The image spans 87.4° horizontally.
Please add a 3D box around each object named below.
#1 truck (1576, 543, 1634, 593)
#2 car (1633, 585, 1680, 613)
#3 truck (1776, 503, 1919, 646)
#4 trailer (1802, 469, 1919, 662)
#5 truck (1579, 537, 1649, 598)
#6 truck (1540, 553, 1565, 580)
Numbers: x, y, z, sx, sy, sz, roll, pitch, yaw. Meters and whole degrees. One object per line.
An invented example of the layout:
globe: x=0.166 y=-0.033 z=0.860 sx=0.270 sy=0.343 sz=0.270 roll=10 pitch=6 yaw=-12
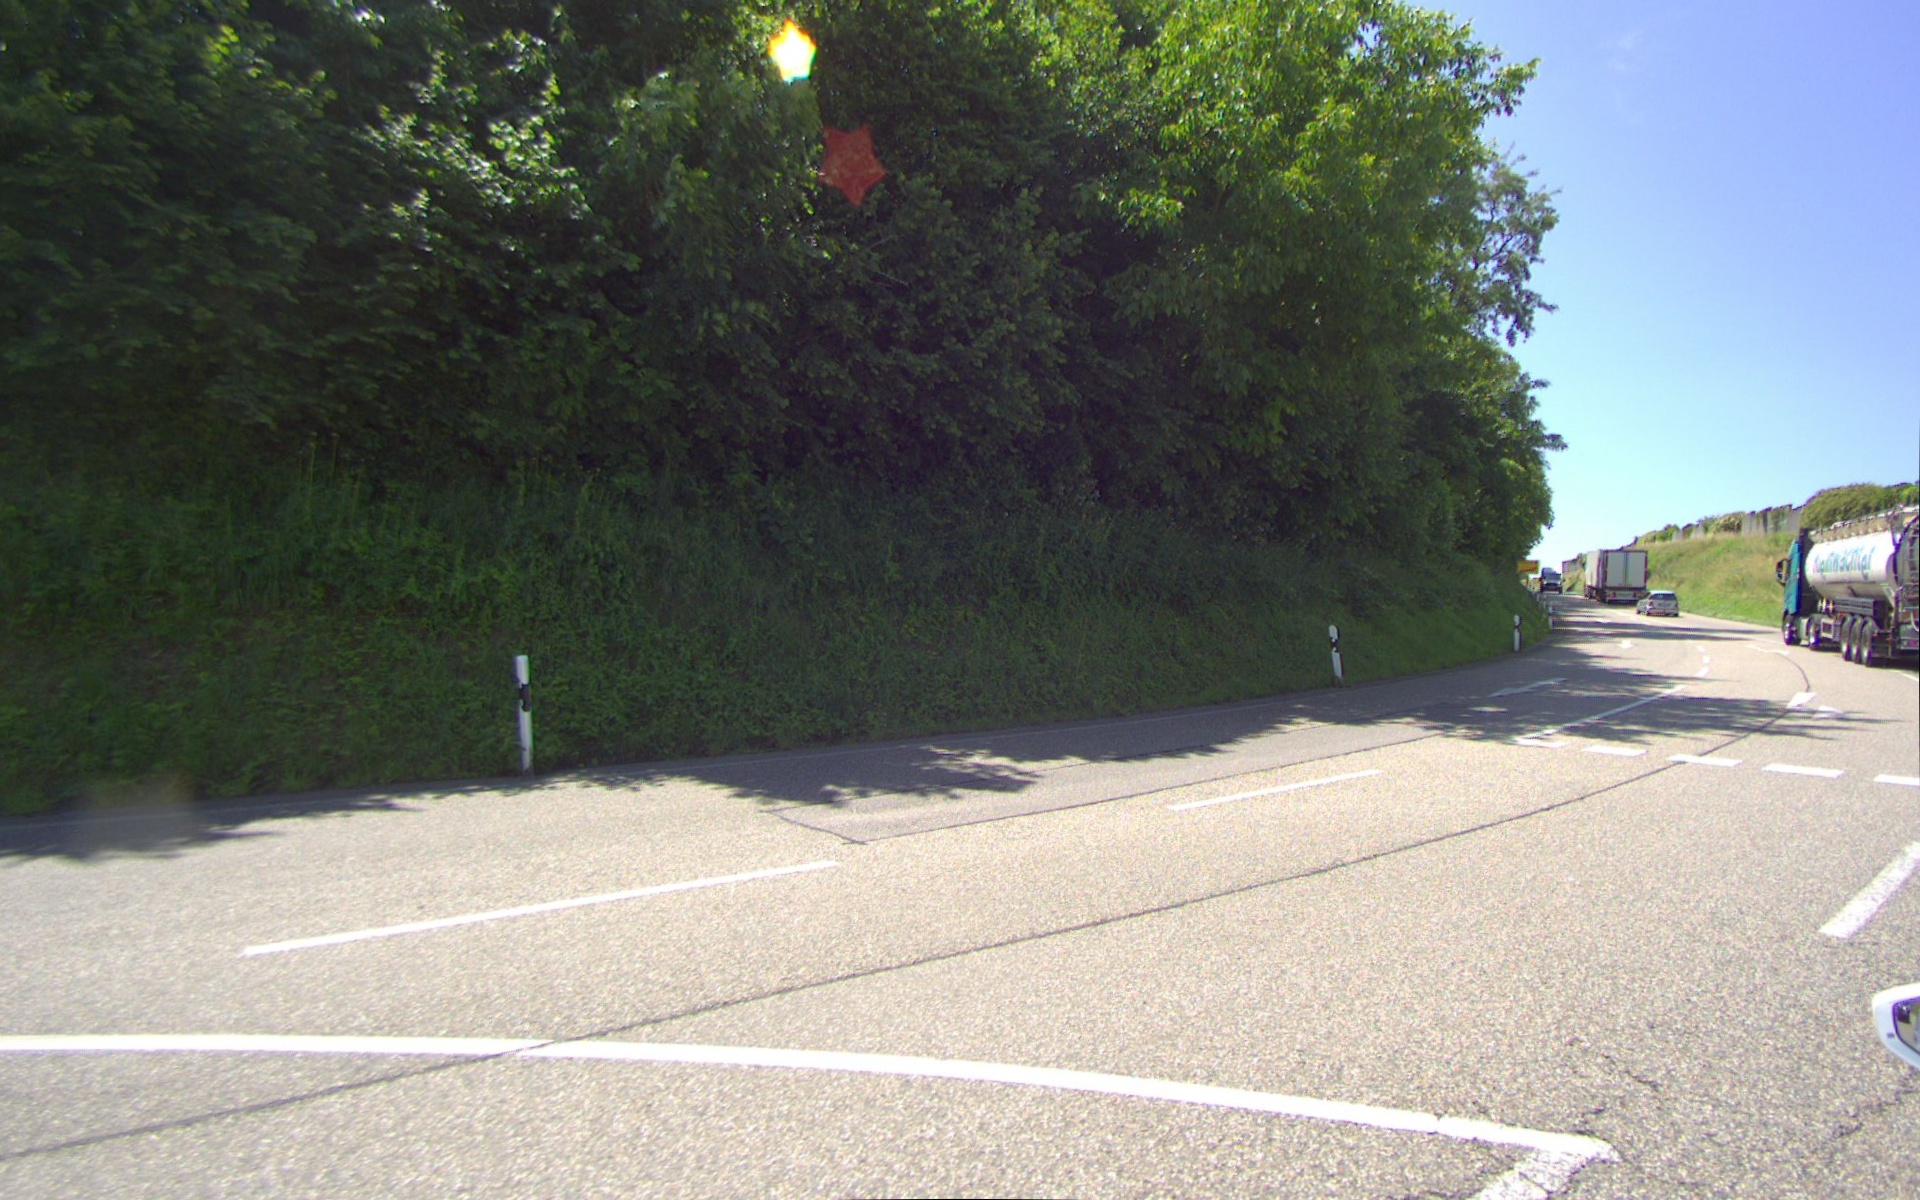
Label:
truck: x=54.100 y=-2.695 z=84.471 sx=3.142 sy=3.987 sz=8.238 roll=3 pitch=3 yaw=27
car: x=42.841 y=-0.109 z=61.844 sx=1.622 sy=1.530 sz=3.635 roll=4 pitch=3 yaw=24
truck: x=27.882 y=-0.752 z=31.400 sx=2.688 sy=3.982 sz=7.246 roll=0 pitch=1 yaw=31
trailer: x=24.914 y=-0.822 z=26.618 sx=2.625 sy=4.245 sz=11.868 roll=0 pitch=1 yaw=33
truck: x=51.387 y=-2.661 z=79.232 sx=3.142 sy=4.368 sz=11.781 roll=4 pitch=4 yaw=27
truck: x=62.566 y=-3.560 z=106.107 sx=2.023 sy=2.723 sz=5.969 roll=3 pitch=4 yaw=29
